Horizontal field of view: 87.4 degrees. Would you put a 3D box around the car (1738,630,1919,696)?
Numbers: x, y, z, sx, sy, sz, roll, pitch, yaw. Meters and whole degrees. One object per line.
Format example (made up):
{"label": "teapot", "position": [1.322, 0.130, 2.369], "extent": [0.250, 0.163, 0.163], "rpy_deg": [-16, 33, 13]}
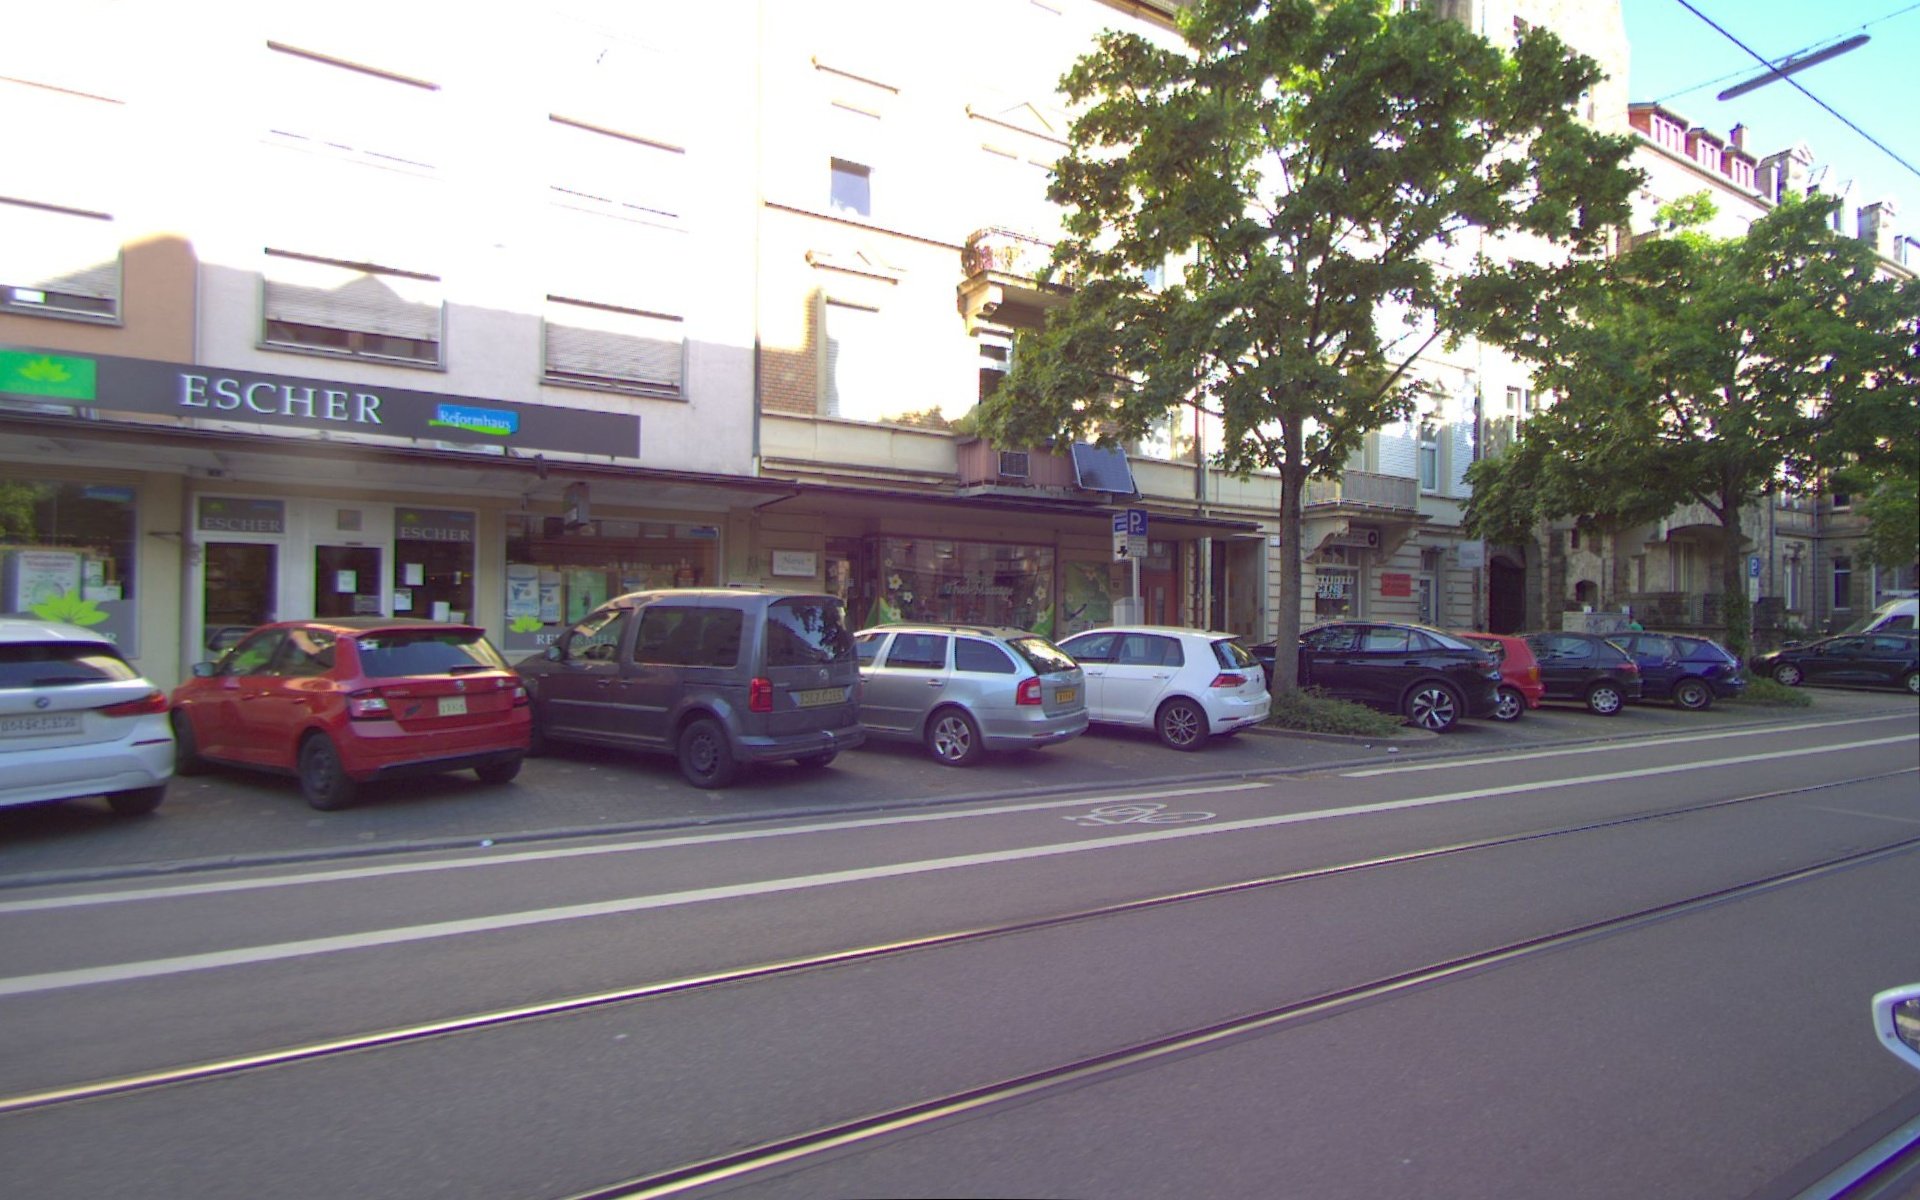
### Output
{"label": "car", "position": [22.955, 1.592, 26.288], "extent": [3.945, 1.509, 1.795], "rpy_deg": [1, -1, 44]}

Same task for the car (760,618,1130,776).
{"label": "car", "position": [-0.203, 1.000, 11.625], "extent": [3.945, 1.468, 1.697], "rpy_deg": [1, -1, 28]}

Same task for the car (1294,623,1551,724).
{"label": "car", "position": [8.120, 1.221, 17.788], "extent": [3.926, 1.509, 1.865], "rpy_deg": [1, -1, 28]}

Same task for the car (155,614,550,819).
{"label": "car", "position": [-5.478, 0.888, 8.997], "extent": [3.410, 1.492, 1.645], "rpy_deg": [0, -1, 31]}

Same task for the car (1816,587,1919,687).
{"label": "car", "position": [28.064, 1.074, 28.640], "extent": [5.293, 2.785, 1.802], "rpy_deg": [1, -1, 31]}

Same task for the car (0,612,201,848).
{"label": "car", "position": [-7.560, 0.818, 7.353], "extent": [3.722, 1.418, 1.753], "rpy_deg": [1, -1, 28]}

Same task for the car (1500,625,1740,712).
{"label": "car", "position": [13.328, 1.332, 20.526], "extent": [3.931, 1.509, 1.802], "rpy_deg": [1, -1, 33]}

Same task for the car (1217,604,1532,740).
{"label": "car", "position": [6.423, 1.018, 15.720], "extent": [4.287, 1.806, 1.993], "rpy_deg": [1, -1, 28]}

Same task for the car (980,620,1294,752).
{"label": "car", "position": [2.338, 1.053, 13.583], "extent": [3.780, 1.449, 1.761], "rpy_deg": [1, -1, 35]}

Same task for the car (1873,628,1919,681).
{"label": "car", "position": [31.865, 1.760, 31.354], "extent": [4.683, 1.639, 1.710], "rpy_deg": [1, -1, 28]}

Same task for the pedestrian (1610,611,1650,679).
{"label": "pedestrian", "position": [17.697, 1.182, 26.531], "extent": [0.753, 1.749, 0.575], "rpy_deg": [2, 0, -31]}

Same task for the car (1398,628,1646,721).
{"label": "car", "position": [10.567, 1.343, 19.158], "extent": [3.926, 1.509, 1.804], "rpy_deg": [1, -1, 28]}

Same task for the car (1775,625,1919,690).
{"label": "car", "position": [25.134, 1.575, 27.740], "extent": [3.933, 1.639, 1.707], "rpy_deg": [1, -1, 35]}

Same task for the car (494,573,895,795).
{"label": "car", "position": [-2.759, 0.717, 10.341], "extent": [3.754, 1.808, 1.794], "rpy_deg": [3, 0, 29]}
